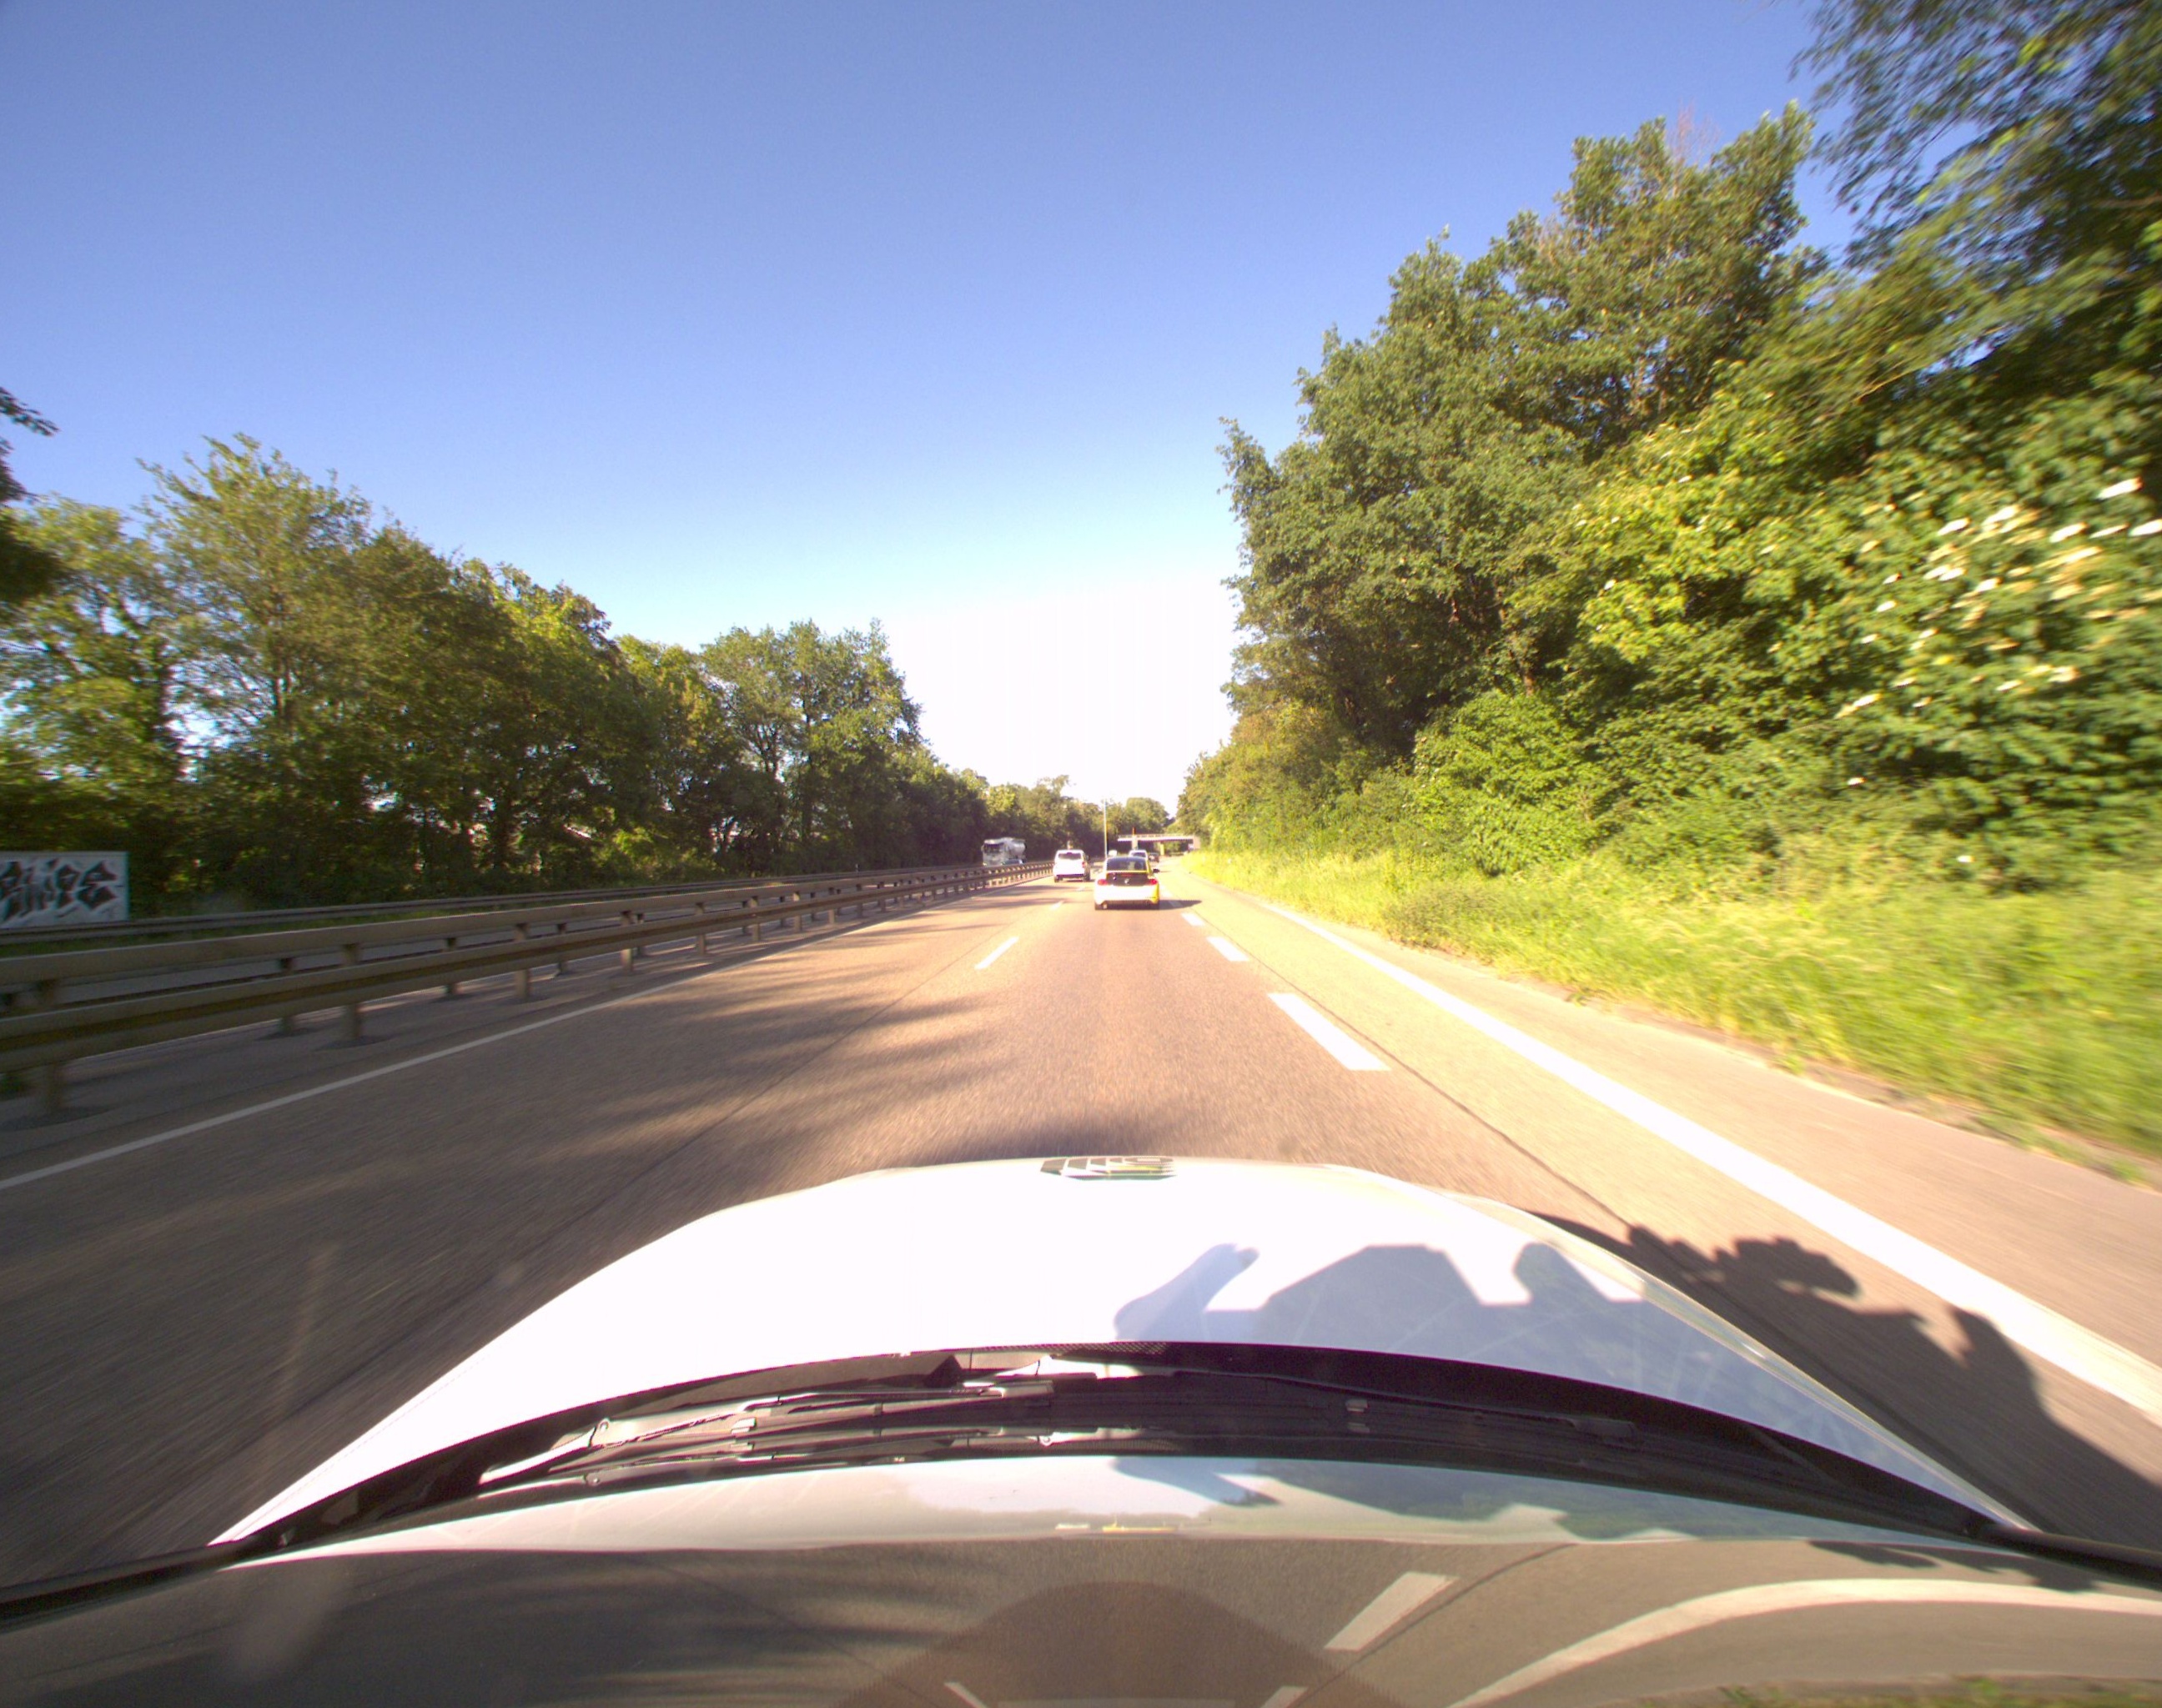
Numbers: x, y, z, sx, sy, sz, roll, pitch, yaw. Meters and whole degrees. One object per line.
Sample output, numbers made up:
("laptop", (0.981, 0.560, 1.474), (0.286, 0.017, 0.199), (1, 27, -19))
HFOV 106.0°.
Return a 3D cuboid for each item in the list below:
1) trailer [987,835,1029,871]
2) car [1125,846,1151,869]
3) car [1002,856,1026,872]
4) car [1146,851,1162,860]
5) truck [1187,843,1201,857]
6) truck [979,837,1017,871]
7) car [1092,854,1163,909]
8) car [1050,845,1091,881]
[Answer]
("trailer", (-8.614, -0.173, 98.132), (3.038, 3.997, 10.988), (-2, 0, 5))
("car", (4.678, 0.289, 66.485), (1.854, 1.770, 4.477), (-2, 0, 6))
("car", (-6.374, 0.929, 77.549), (1.659, 1.467, 4.095), (-2, 0, 3))
("car", (11.672, 0.243, 129.759), (1.980, 1.398, 4.014), (-1, 0, 12))
("truck", (36.525, -1.230, 263.025), (3.472, 4.172, 8.892), (-2, 0, 12))
("truck", (-9.190, -0.008, 91.197), (2.966, 3.630, 6.165), (-2, 0, 5))
("car", (1.306, 0.725, 23.741), (1.872, 1.461, 4.358), (0, 0, 2))
("car", (-0.558, 0.482, 45.896), (2.077, 1.828, 4.002), (-2, 0, 2))
